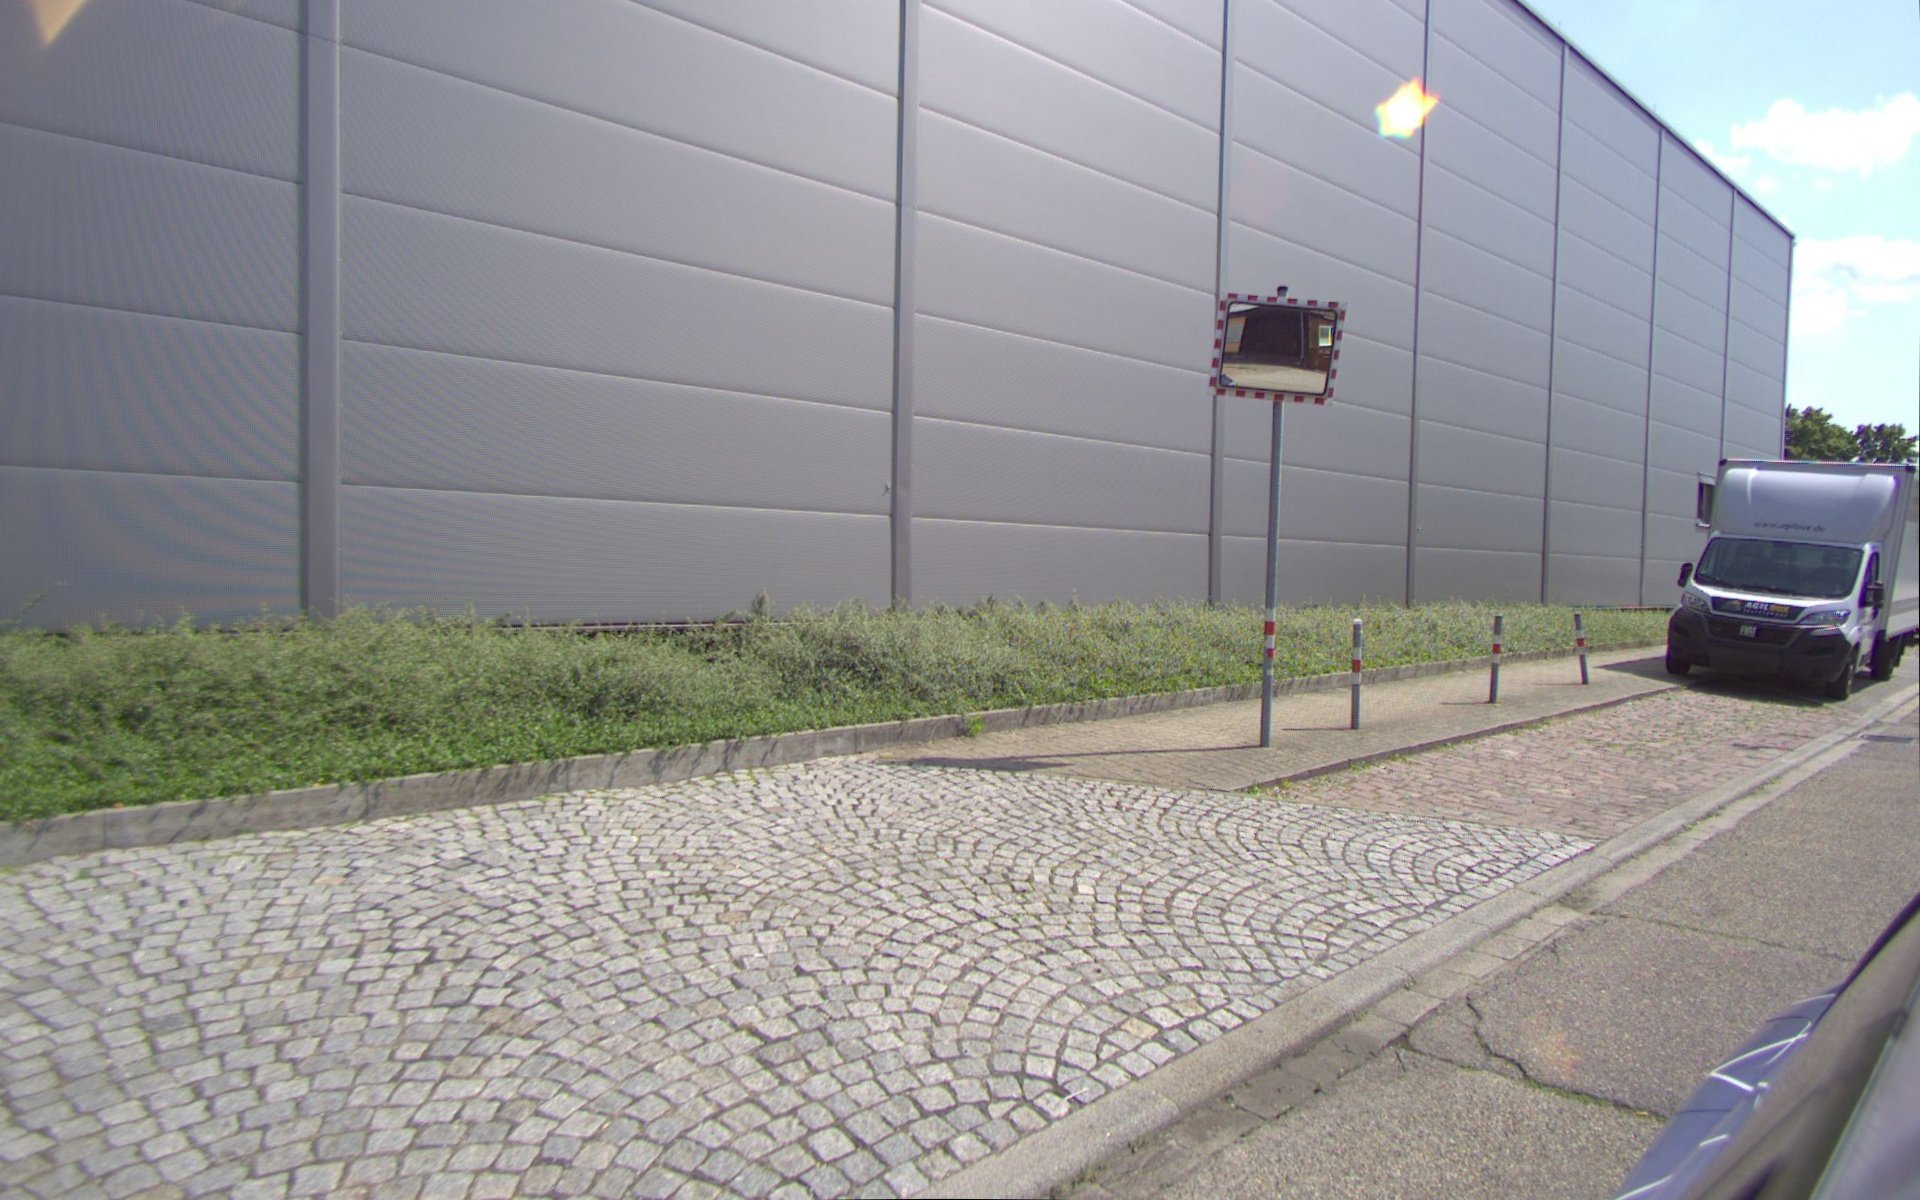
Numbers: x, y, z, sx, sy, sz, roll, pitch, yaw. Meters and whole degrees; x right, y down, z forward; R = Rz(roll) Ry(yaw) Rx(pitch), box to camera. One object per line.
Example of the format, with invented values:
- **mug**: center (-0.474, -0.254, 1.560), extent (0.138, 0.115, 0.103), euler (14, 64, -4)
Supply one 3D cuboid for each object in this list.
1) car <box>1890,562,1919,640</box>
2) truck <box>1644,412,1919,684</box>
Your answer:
- **car**: center (26.052, -0.005, 26.354), extent (5.055, 1.927, 2.058), euler (-1, 2, -40)
- **truck**: center (13.149, -0.817, 15.514), extent (6.698, 3.331, 2.465), euler (-1, 7, -40)
